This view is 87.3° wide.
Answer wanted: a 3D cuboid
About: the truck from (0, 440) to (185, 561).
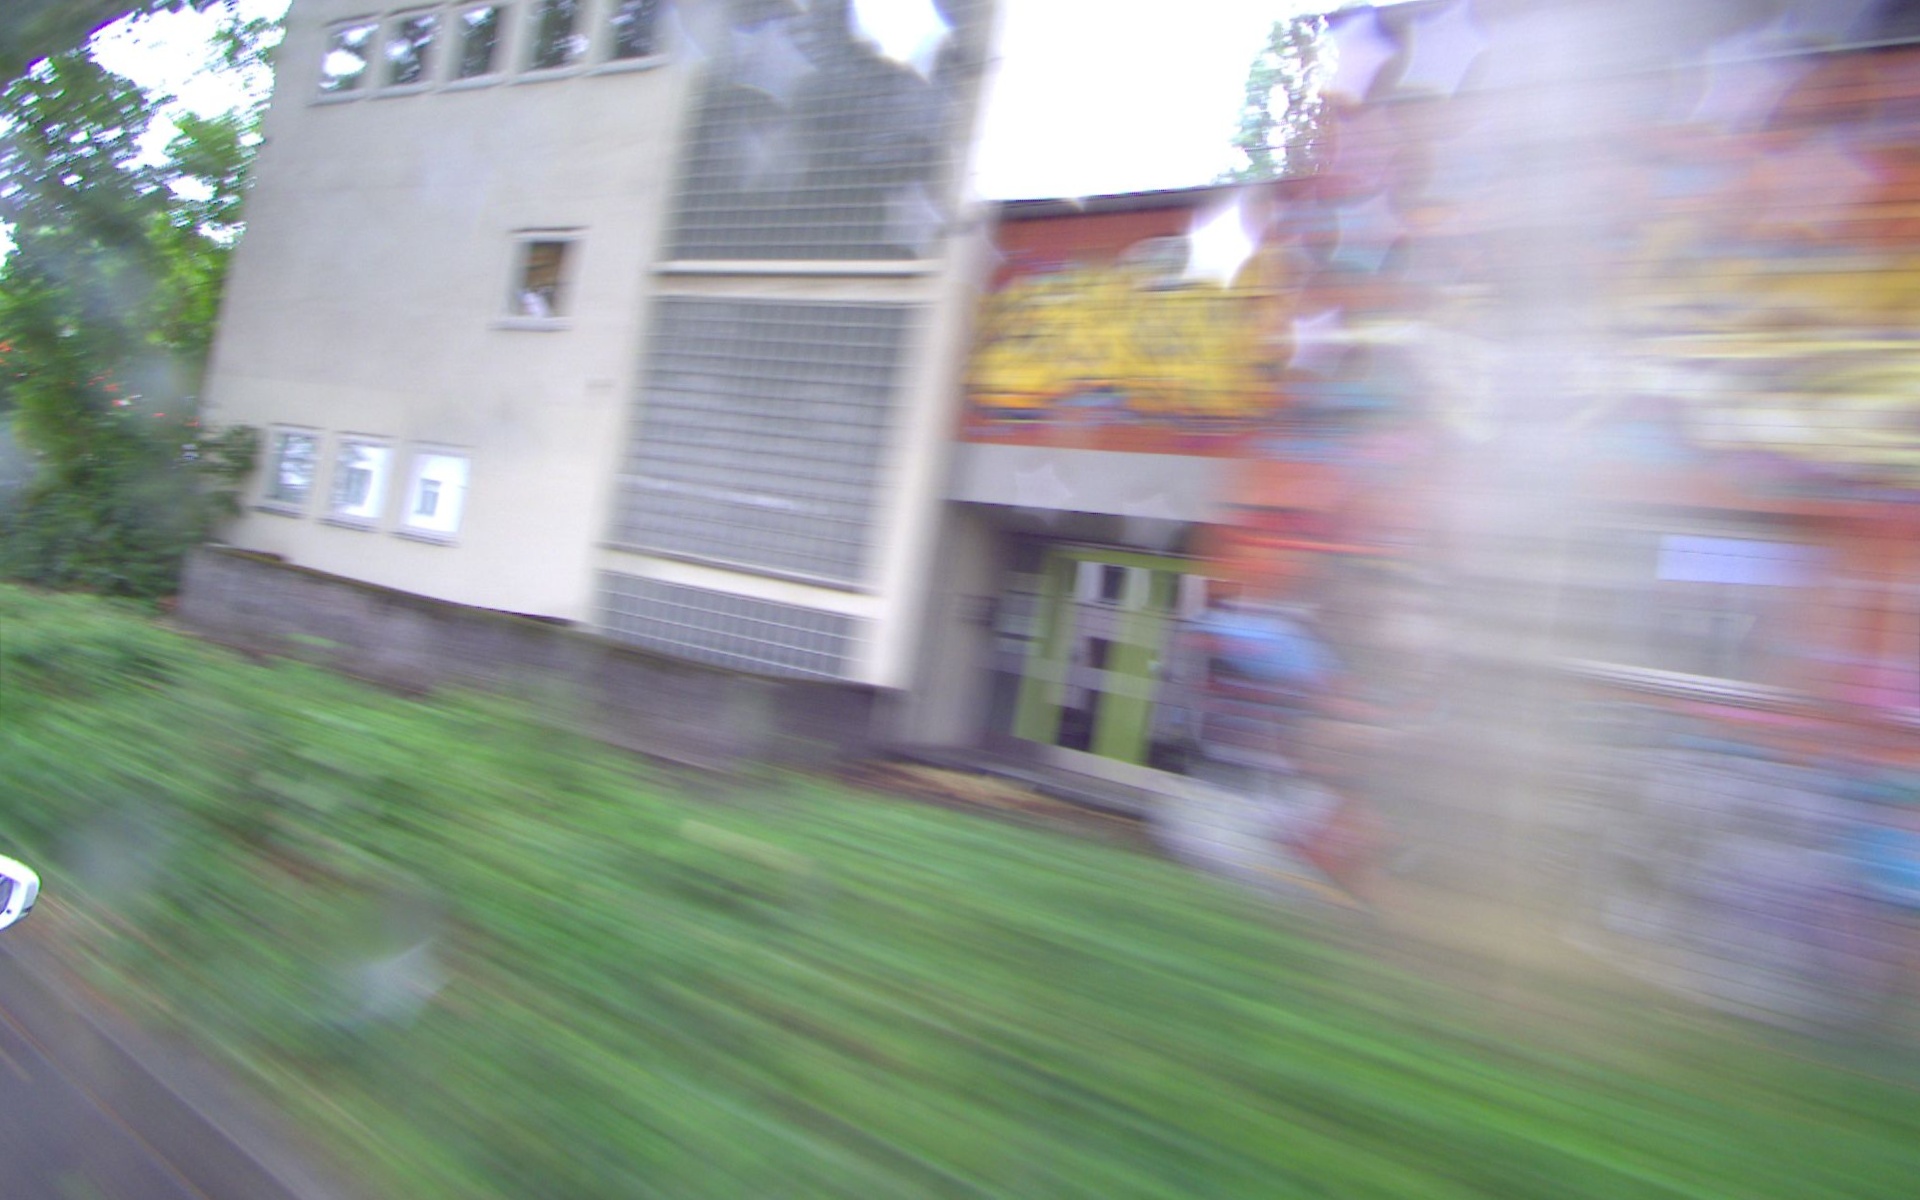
[{"bbox_3d":[-33.459,-3.800,38.067,6.861,3.558,3.912,7,-1,30],"label":"truck"}]
